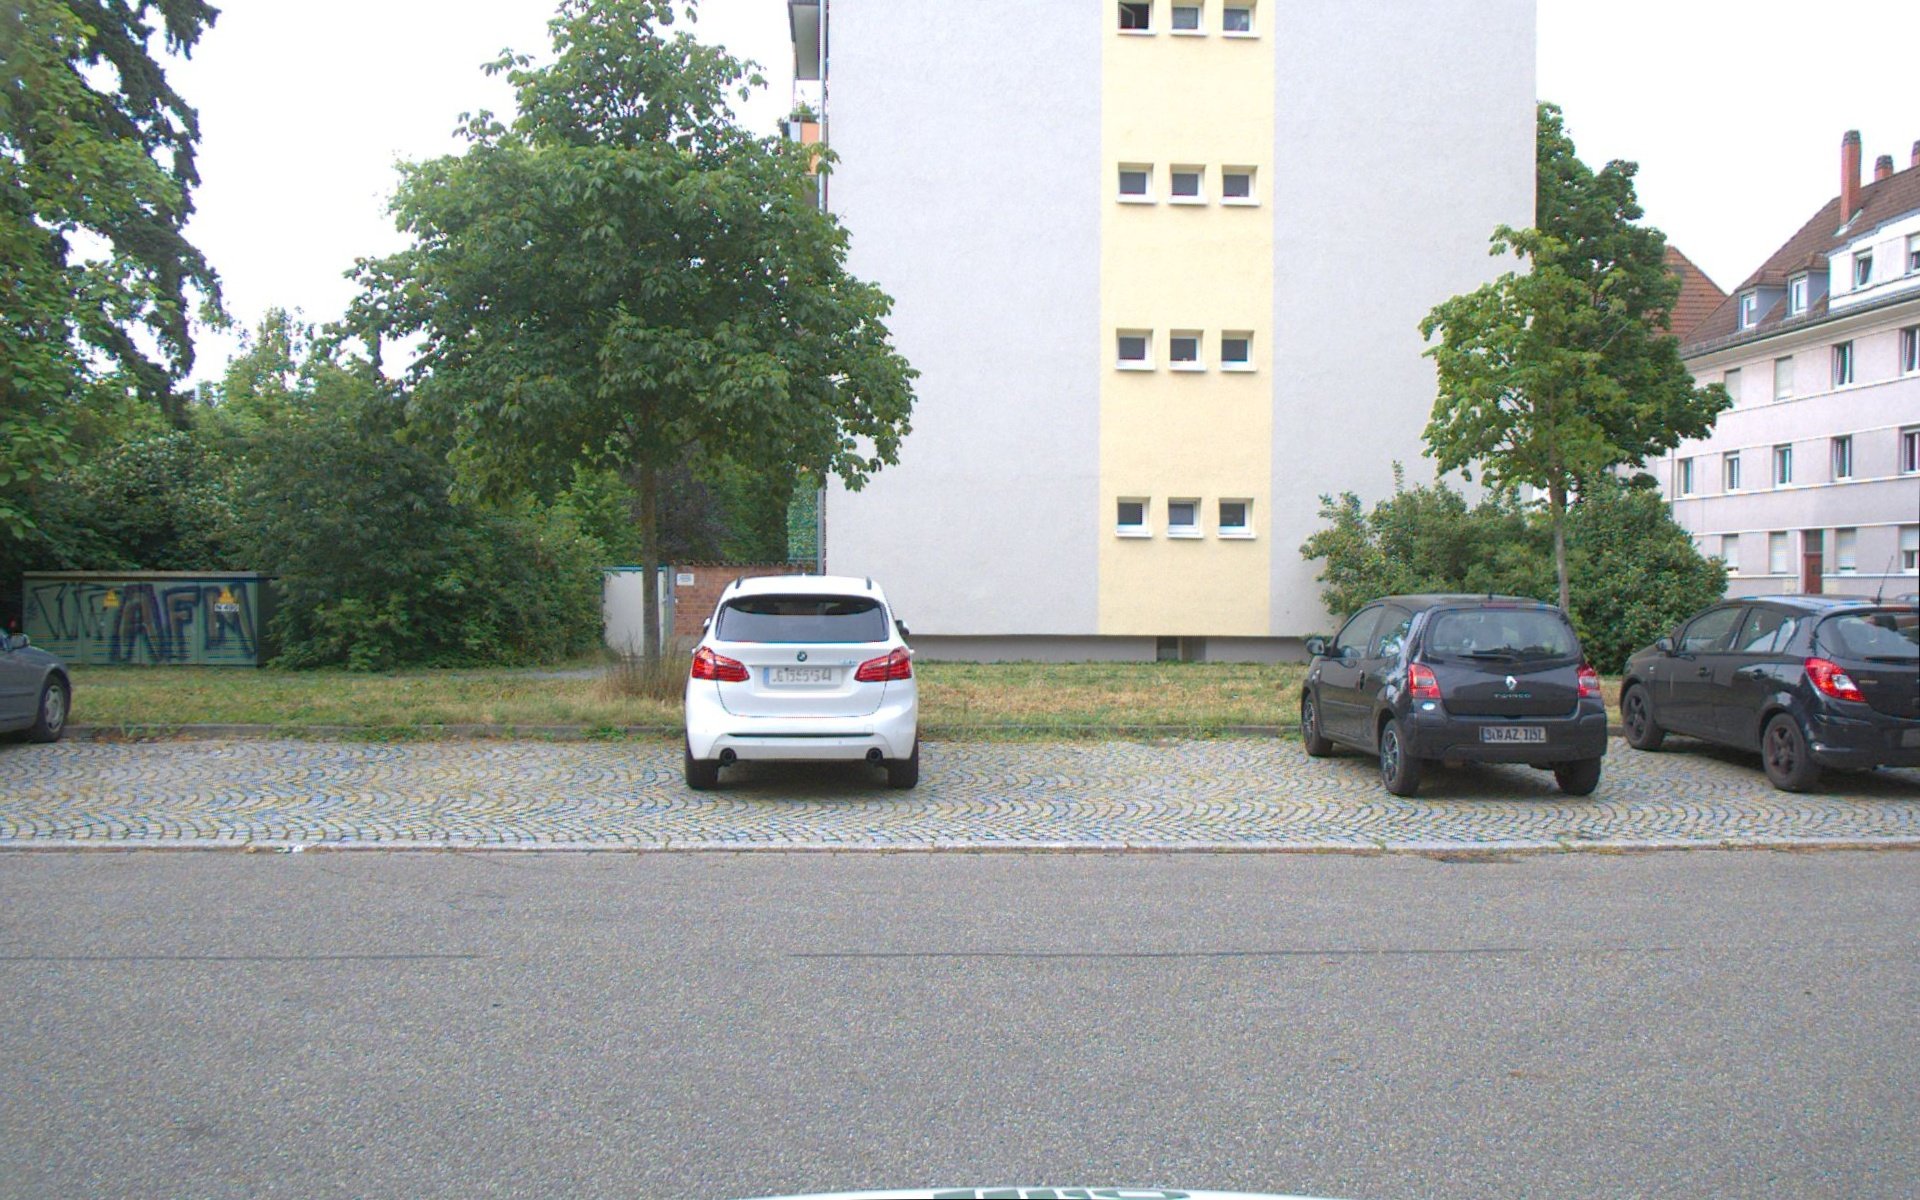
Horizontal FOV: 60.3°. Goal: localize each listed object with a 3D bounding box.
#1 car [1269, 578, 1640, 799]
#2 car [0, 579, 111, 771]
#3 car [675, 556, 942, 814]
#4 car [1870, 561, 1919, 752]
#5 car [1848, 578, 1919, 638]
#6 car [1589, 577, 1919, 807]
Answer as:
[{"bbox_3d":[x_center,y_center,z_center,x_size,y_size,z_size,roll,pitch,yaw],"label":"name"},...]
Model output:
[{"bbox_3d":[3.992,0.610,14.206,1.798,1.489,4.561,0,2,0],"label":"car"},{"bbox_3d":[-8.539,0.628,13.290,1.643,1.479,4.552,0,2,-8],"label":"car"},{"bbox_3d":[-1.199,0.556,13.747,1.841,1.587,4.148,1,4,-4],"label":"car"},{"bbox_3d":[9.692,0.568,13.859,1.871,1.727,4.069,0,2,0],"label":"car"},{"bbox_3d":[26.768,0.200,46.246,1.663,1.552,3.823,-1,1,-3],"label":"car"},{"bbox_3d":[7.176,0.649,14.311,1.798,1.593,4.358,0,2,0],"label":"car"}]
